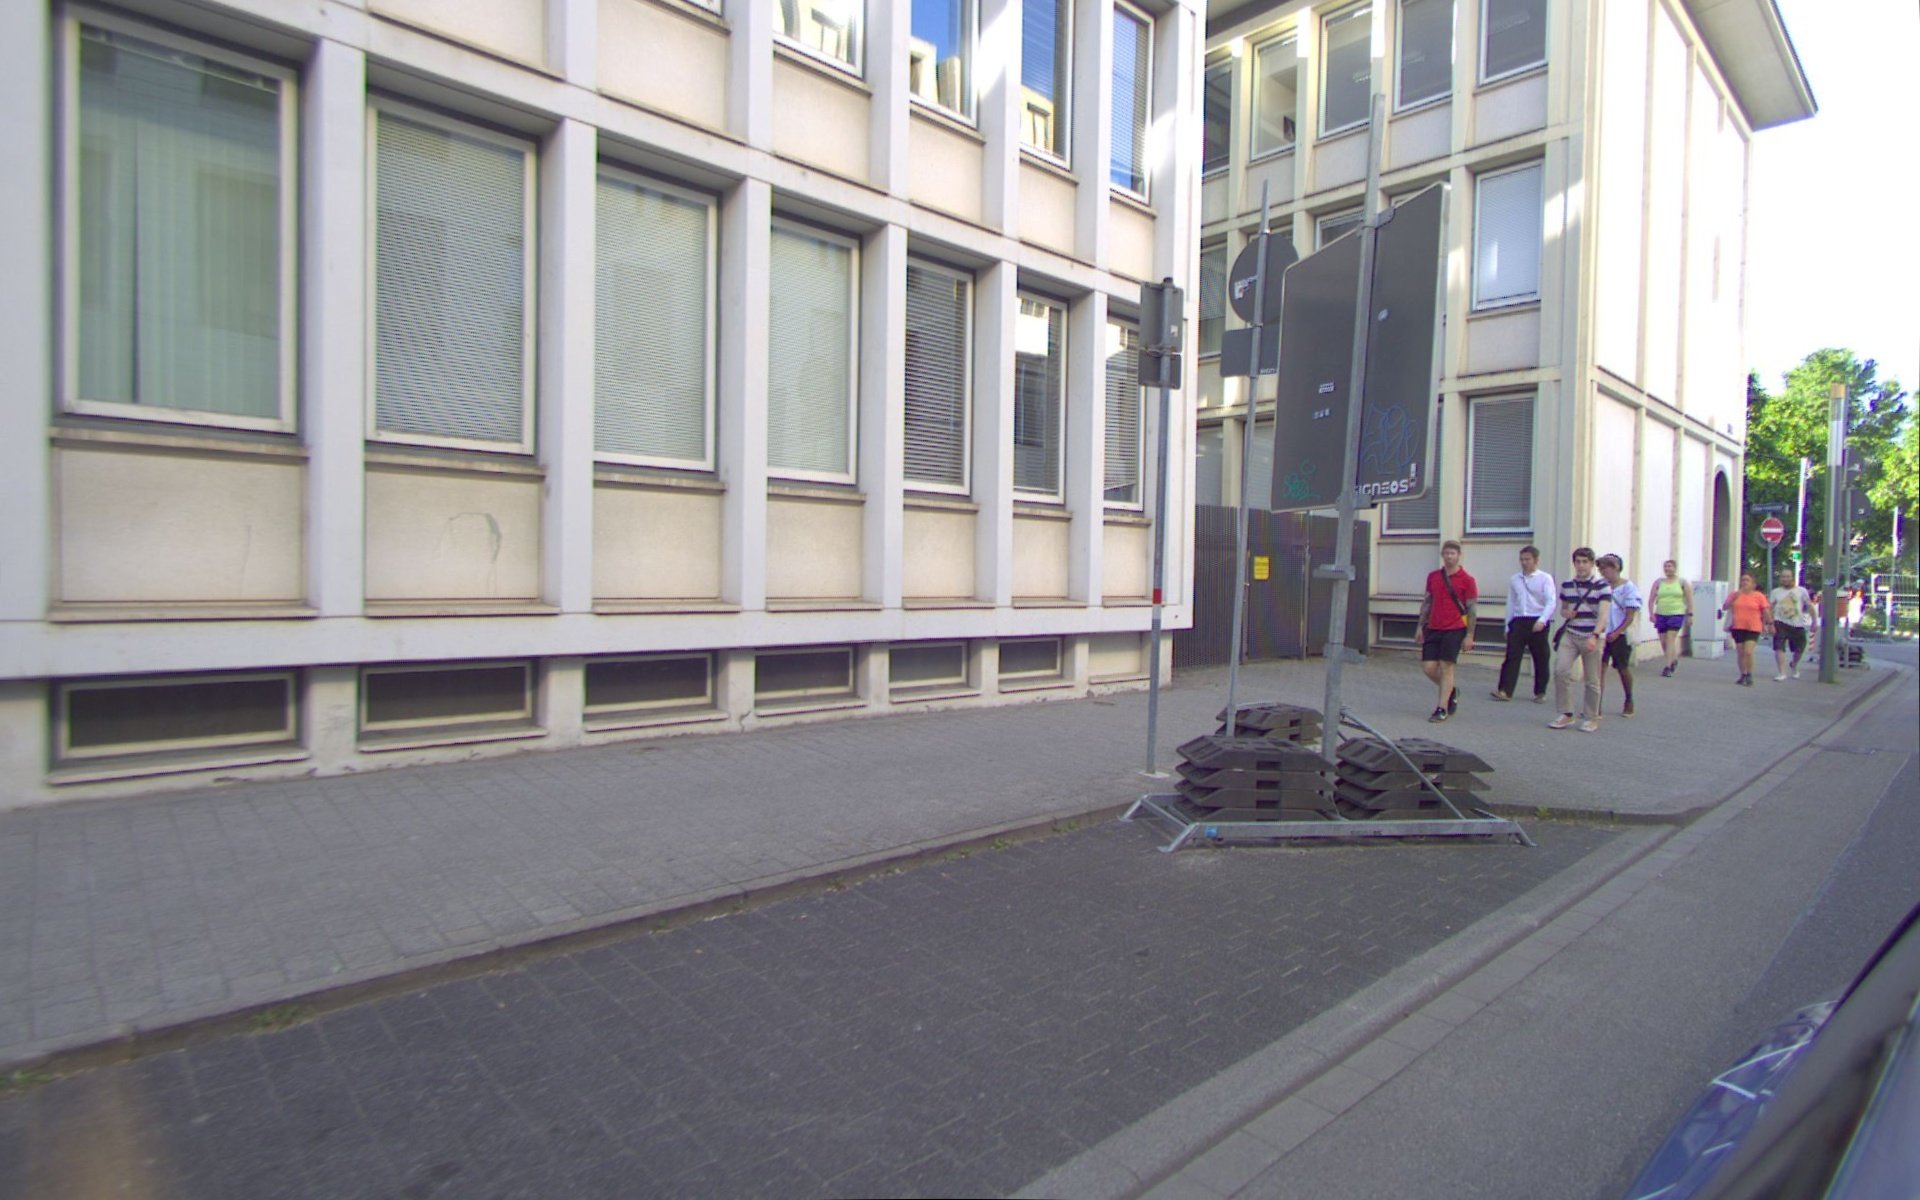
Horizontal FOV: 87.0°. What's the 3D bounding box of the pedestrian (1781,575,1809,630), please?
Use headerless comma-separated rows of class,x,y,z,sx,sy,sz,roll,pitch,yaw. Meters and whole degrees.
pedestrian,25.221,0.072,30.561,0.624,1.634,0.614,1,1,42

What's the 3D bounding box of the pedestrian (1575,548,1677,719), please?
pedestrian,7.378,0.341,11.218,0.681,1.800,0.684,0,3,-41

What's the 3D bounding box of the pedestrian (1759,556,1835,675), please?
pedestrian,12.705,0.216,15.365,0.681,1.736,0.685,0,4,-41

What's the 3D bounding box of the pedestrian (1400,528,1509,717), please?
pedestrian,4.977,0.199,10.201,0.583,1.799,0.685,0,5,-41

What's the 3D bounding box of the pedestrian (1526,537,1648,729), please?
pedestrian,6.304,0.309,10.181,0.681,1.799,0.685,0,7,-41

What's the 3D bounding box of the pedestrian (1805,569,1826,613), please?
pedestrian,35.353,-0.388,41.830,0.624,1.805,0.614,1,1,42

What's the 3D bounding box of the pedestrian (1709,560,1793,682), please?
pedestrian,11.384,0.279,14.571,0.681,1.655,0.685,0,6,-41

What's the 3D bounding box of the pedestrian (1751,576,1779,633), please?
pedestrian,23.990,0.120,30.162,0.624,1.662,0.614,1,1,42

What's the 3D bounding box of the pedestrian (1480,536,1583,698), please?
pedestrian,6.775,0.184,12.005,0.681,1.799,0.685,0,7,-41

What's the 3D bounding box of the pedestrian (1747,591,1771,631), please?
pedestrian,24.277,0.316,30.764,0.533,1.191,0.614,1,2,42

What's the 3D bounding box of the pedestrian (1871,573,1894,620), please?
pedestrian,36.143,-0.150,39.649,0.624,1.805,0.614,1,1,42

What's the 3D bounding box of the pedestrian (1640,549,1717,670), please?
pedestrian,10.800,0.126,15.220,0.681,1.736,0.685,0,4,-41
